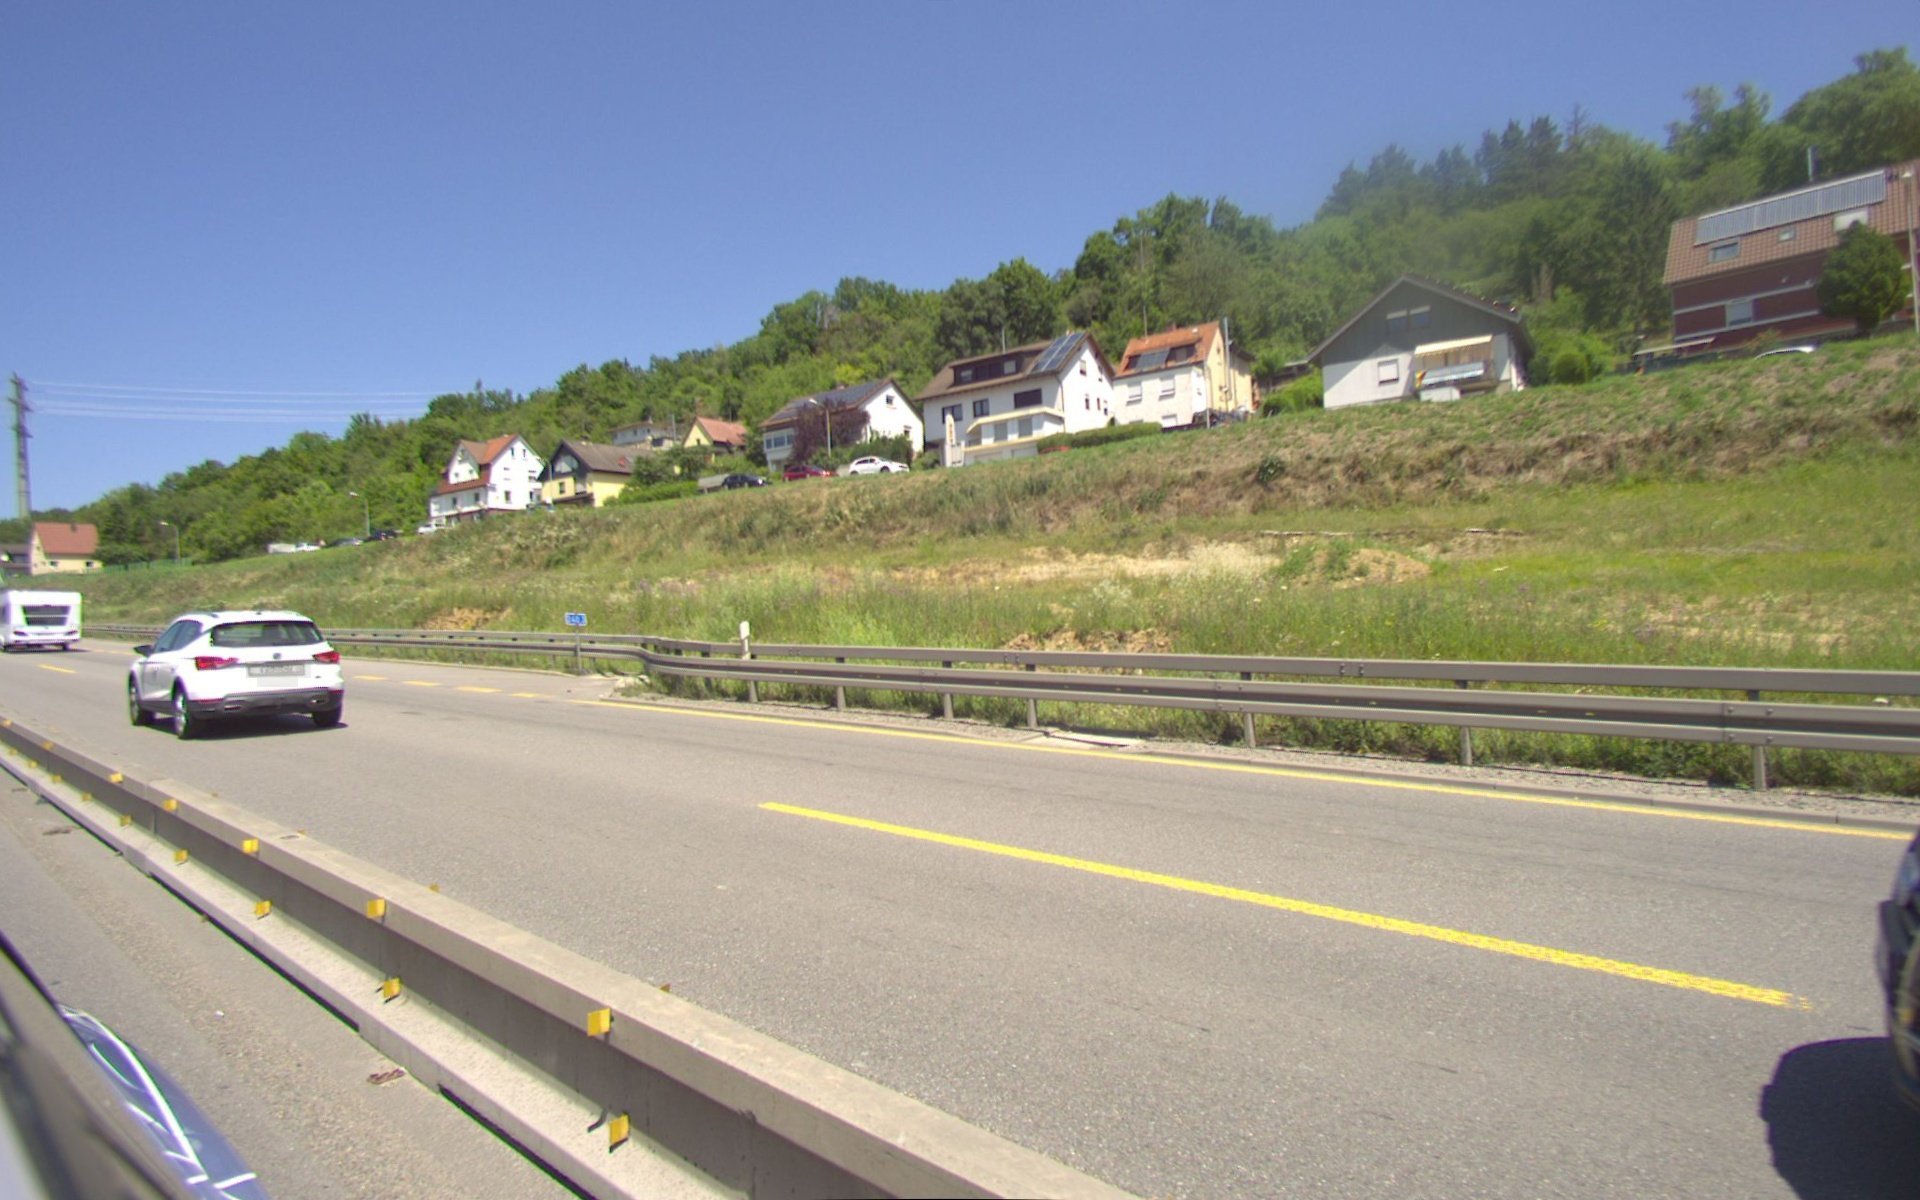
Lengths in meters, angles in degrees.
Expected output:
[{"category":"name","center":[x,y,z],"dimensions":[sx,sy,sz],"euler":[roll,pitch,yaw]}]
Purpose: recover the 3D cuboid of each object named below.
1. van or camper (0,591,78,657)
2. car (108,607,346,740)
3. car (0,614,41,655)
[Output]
[{"category":"van or camper","center":[-40.126,1.015,43.671],"dimensions":[6.048,2.670,2.352],"euler":[-1,-1,41]},{"category":"car","center":[-10.008,0.877,13.674],"dimensions":[4.539,1.487,1.656],"euler":[-1,0,41]},{"category":"car","center":[-45.339,1.622,48.108],"dimensions":[3.663,1.833,1.973],"euler":[-1,1,41]}]
